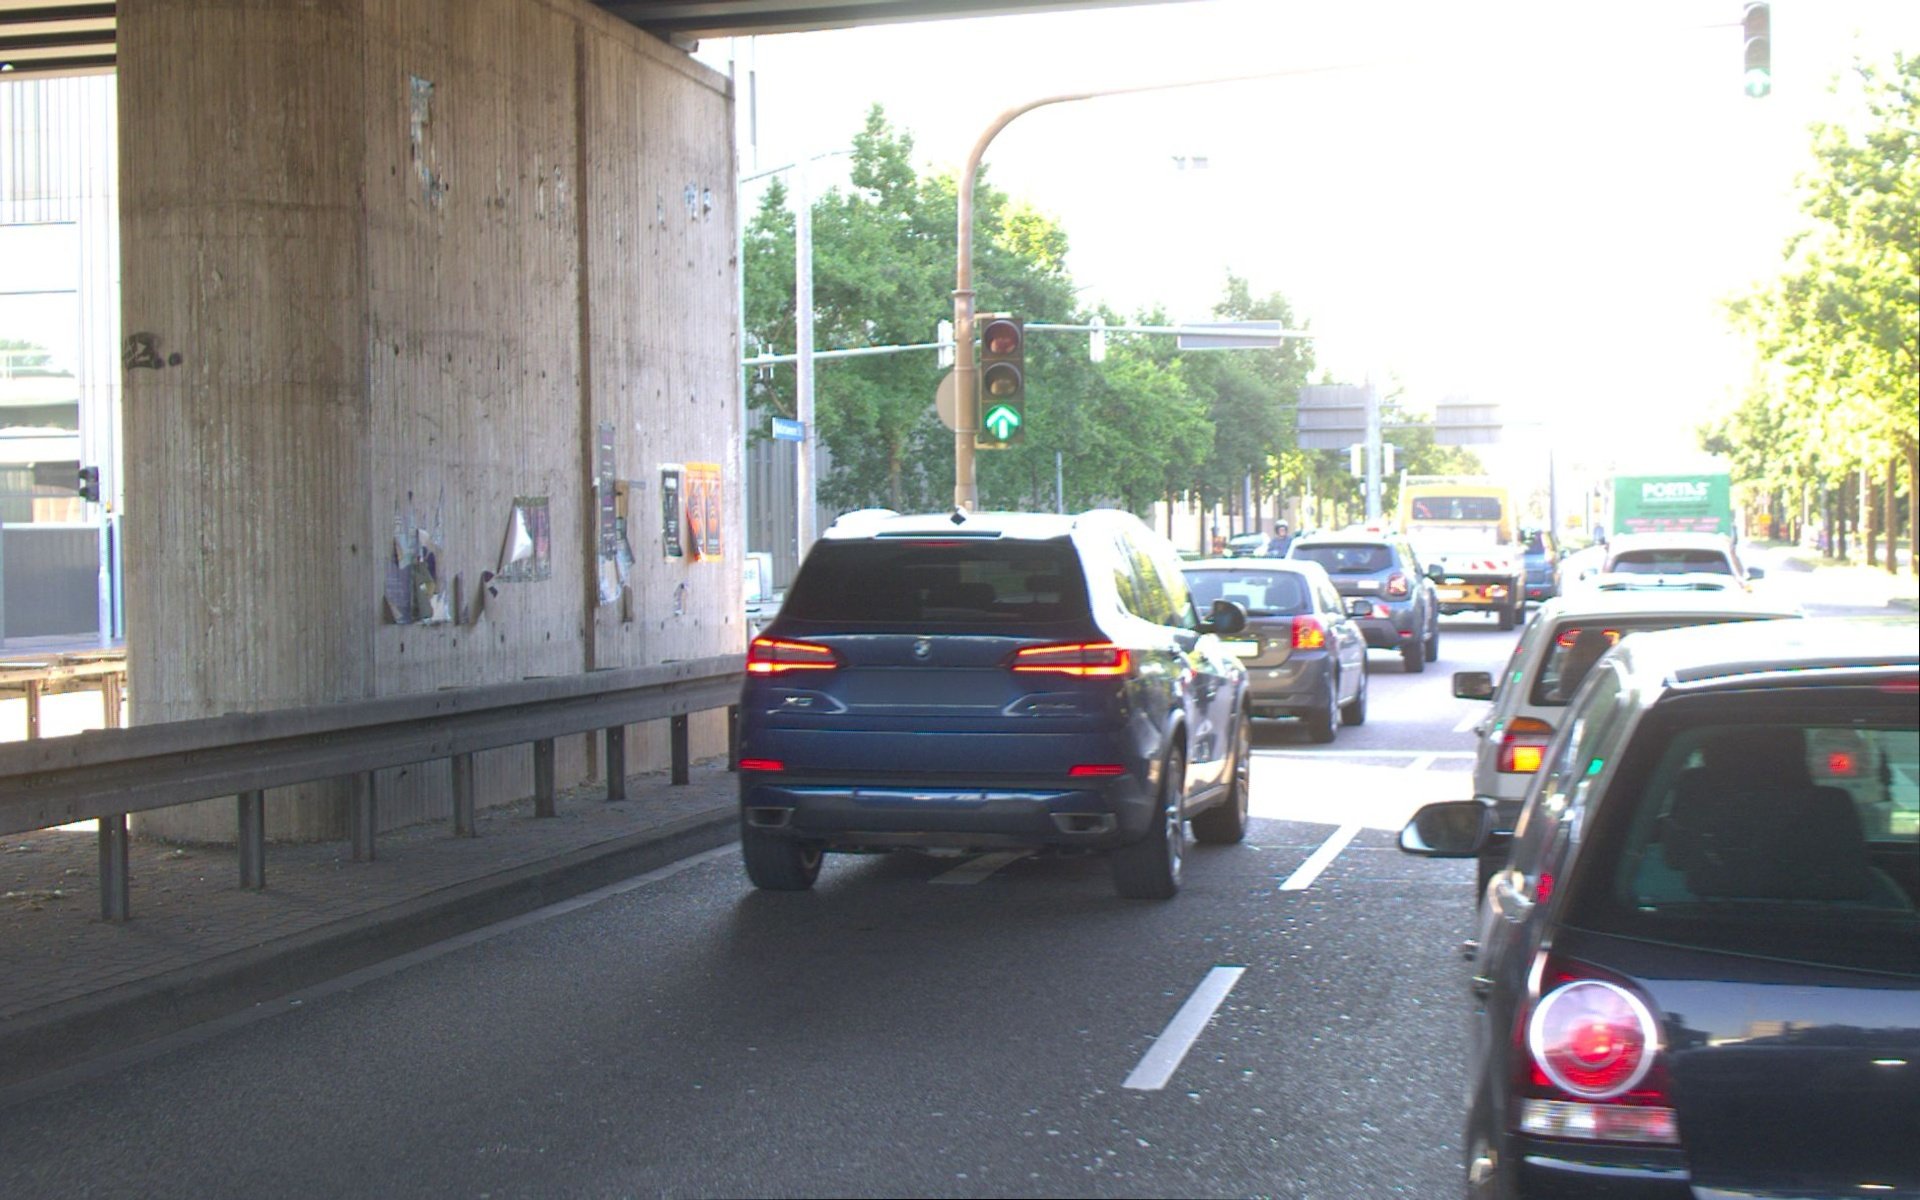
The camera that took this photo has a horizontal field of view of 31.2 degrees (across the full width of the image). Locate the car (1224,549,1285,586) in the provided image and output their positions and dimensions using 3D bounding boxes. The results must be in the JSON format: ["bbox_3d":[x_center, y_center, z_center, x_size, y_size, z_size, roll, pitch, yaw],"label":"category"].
[{"bbox_3d":[12.102,-1.326,141.069,1.994,1.396,4.347,-4,0,11],"label":"car"}]

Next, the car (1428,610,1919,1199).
[{"bbox_3d":[1.706,0.754,6.363,1.617,1.405,3.682,1,0,7],"label":"car"}]

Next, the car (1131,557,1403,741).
[{"bbox_3d":[2.621,0.370,28.655,1.618,1.405,3.680,1,0,15],"label":"car"}]

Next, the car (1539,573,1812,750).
[{"bbox_3d":[5.823,0.453,27.968,1.994,1.290,3.998,1,0,12],"label":"car"}]

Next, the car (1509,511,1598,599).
[{"bbox_3d":[11.747,-0.881,67.962,1.617,1.673,3.681,1,0,11],"label":"car"}]

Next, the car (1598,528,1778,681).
[{"bbox_3d":[7.975,0.036,37.648,1.797,1.553,3.998,1,0,12],"label":"car"}]

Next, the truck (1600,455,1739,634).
[{"bbox_3d":[11.118,-0.854,53.824,1.997,2.659,3.998,1,0,12],"label":"truck"}]

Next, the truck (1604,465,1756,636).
[{"bbox_3d":[10.277,-0.697,49.049,1.997,2.307,3.998,1,0,12],"label":"truck"}]

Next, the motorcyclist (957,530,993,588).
[{"bbox_3d":[0.368,-1.019,85.749,0.682,1.419,0.867,1,0,15],"label":"motorcyclist"}]

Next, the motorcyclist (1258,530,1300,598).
[{"bbox_3d":[6.611,-0.760,71.237,0.797,1.345,1.274,-2,2,5],"label":"motorcyclist"}]

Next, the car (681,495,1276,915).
[{"bbox_3d":[0.266,0.422,16.784,1.994,1.728,4.530,1,0,12],"label":"car"}]

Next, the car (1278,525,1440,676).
[{"bbox_3d":[4.758,-0.004,40.631,1.617,1.673,3.681,1,0,11],"label":"car"}]

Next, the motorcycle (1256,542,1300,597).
[{"bbox_3d":[6.591,-0.642,71.182,0.840,1.072,2.401,-3,1,5],"label":"motorcycle"}]

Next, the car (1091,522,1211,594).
[{"bbox_3d":[4.135,-0.887,73.975,1.994,1.470,4.078,2,1,11],"label":"car"}]

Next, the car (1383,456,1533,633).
[{"bbox_3d":[7.651,-0.840,53.183,2.137,2.567,5.085,1,0,7],"label":"car"}]

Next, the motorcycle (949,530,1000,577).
[{"bbox_3d":[0.362,-1.155,85.737,0.681,1.152,2.237,1,0,16],"label":"motorcycle"}]

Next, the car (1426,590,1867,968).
[{"bbox_3d":[2.923,0.684,15.321,1.579,1.408,4.061,1,0,7],"label":"car"}]
